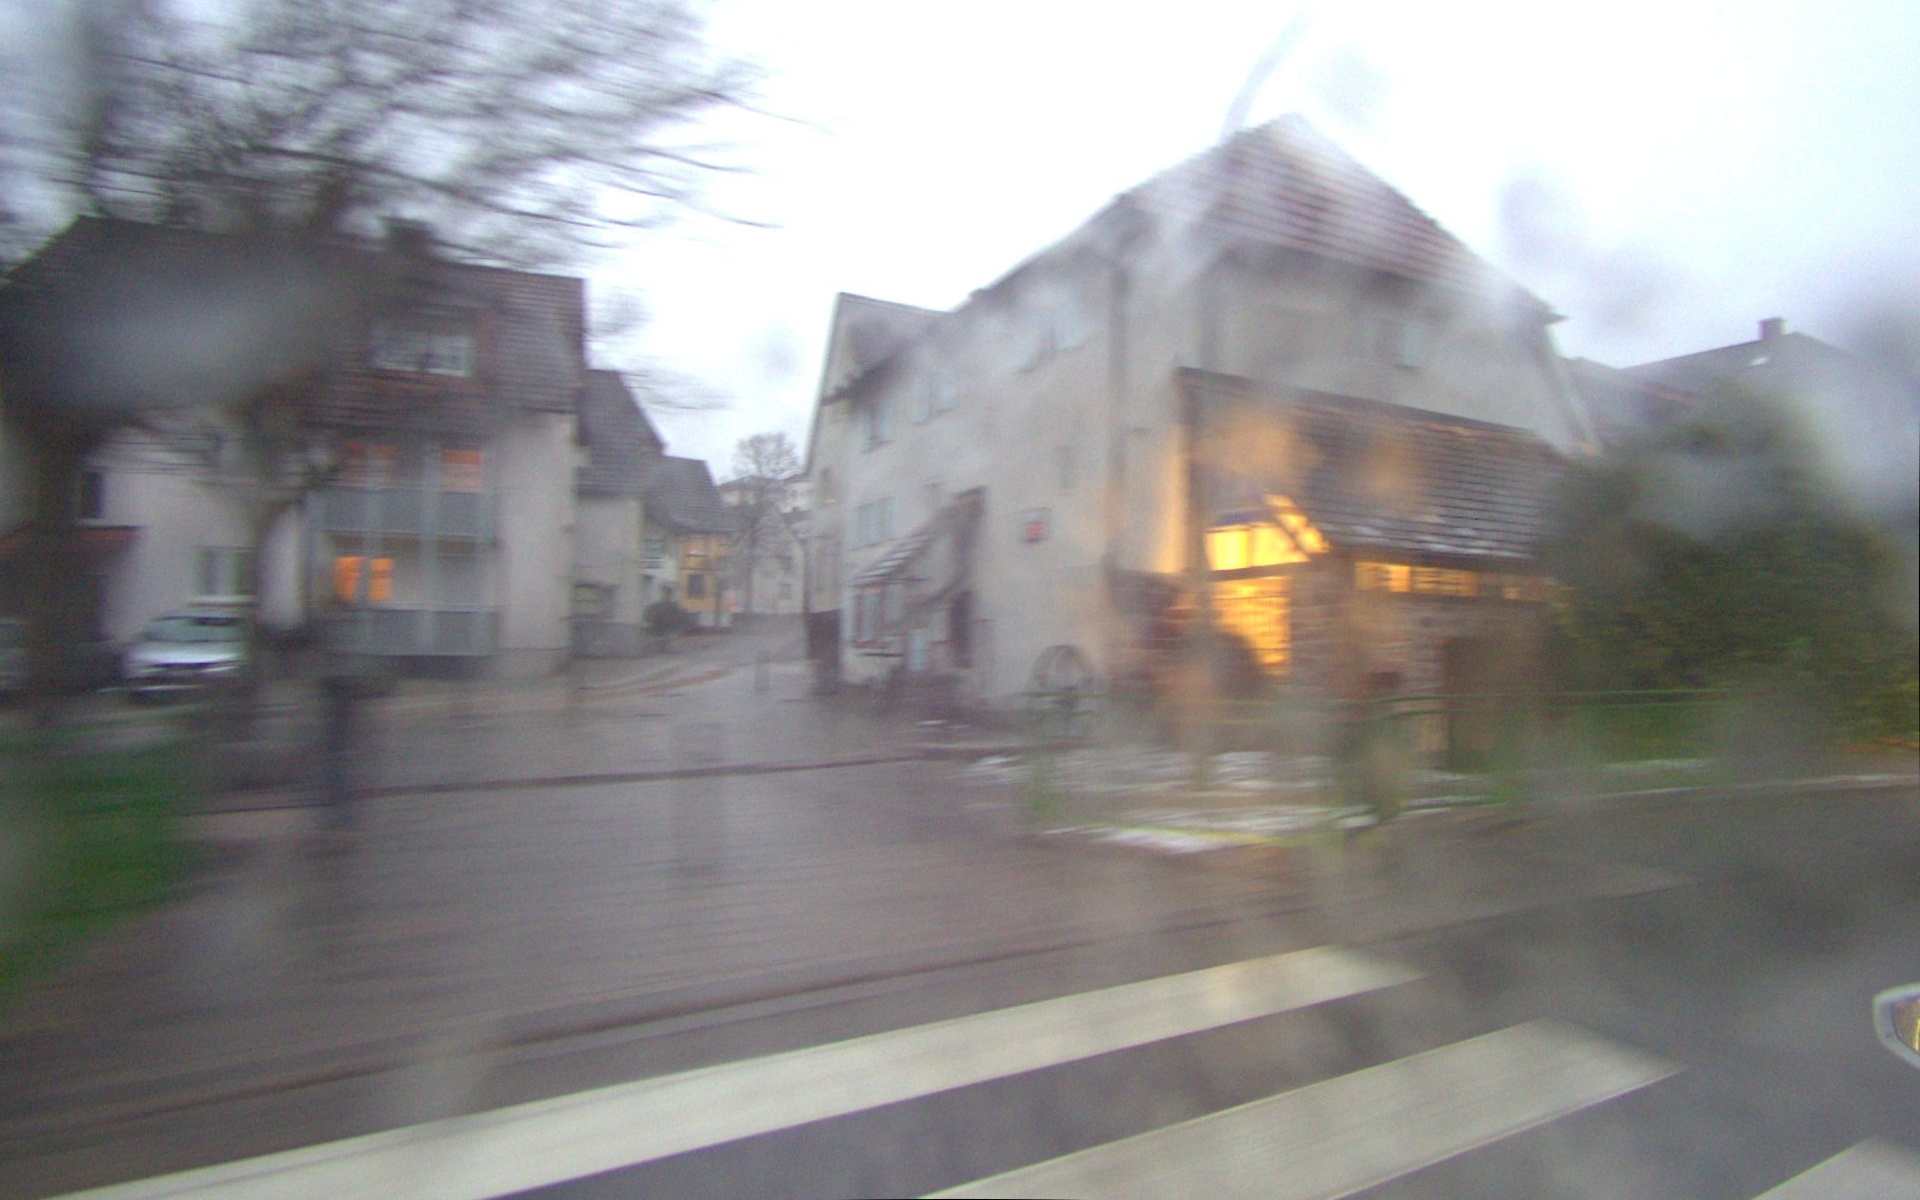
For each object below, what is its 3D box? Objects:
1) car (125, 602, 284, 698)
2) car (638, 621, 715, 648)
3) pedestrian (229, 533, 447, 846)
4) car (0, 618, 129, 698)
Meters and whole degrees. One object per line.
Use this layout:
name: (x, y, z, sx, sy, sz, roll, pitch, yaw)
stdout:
car: (-14.713, 0.914, 19.766, 1.689, 1.633, 3.589, 1, 1, -24)
car: (-11.694, 1.431, 41.613, 2.984, 1.012, 1.422, 1, 0, -14)
pedestrian: (-3.783, 0.512, 6.212, 0.940, 1.758, 0.879, 1, -1, -18)
car: (-17.125, 1.032, 18.783, 1.506, 1.142, 3.040, 1, 3, -20)
